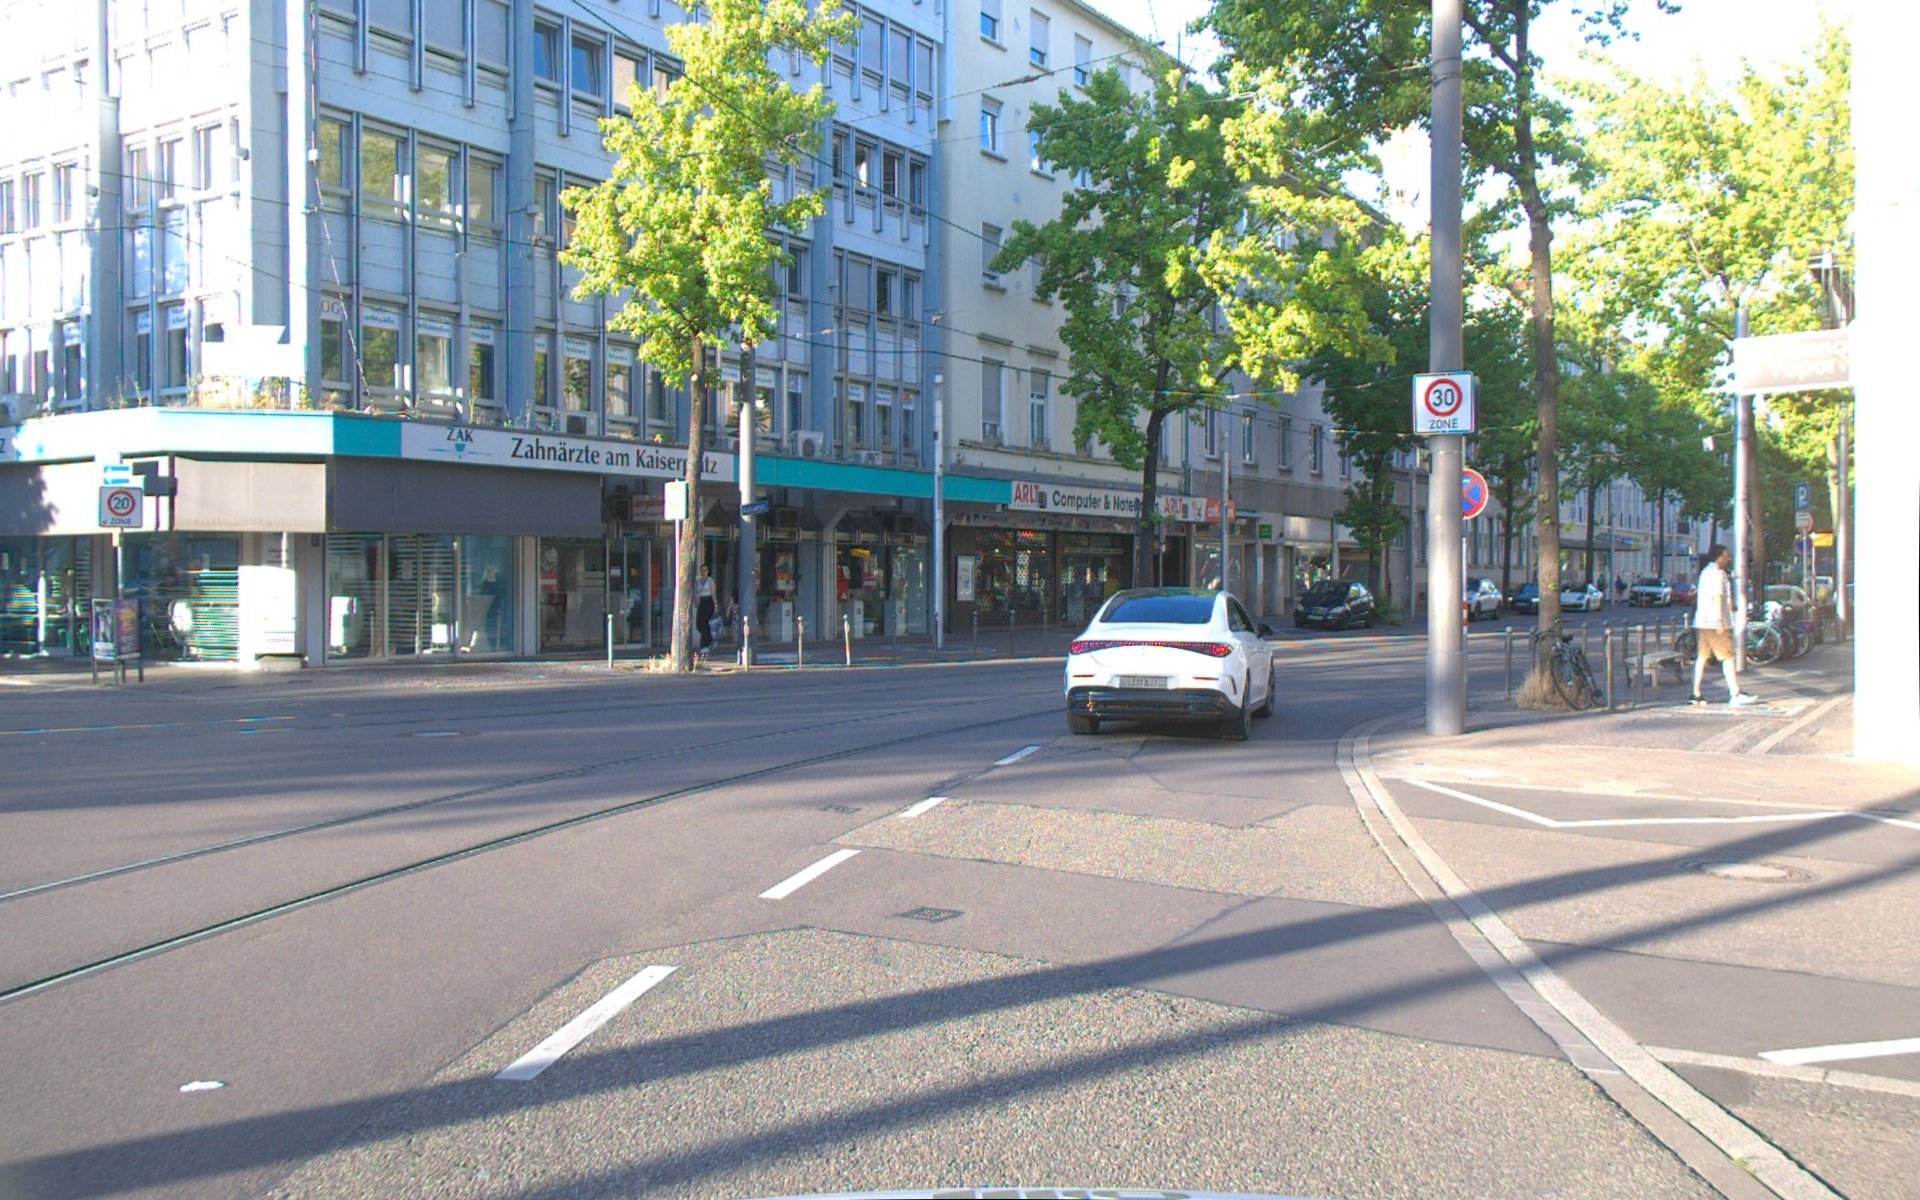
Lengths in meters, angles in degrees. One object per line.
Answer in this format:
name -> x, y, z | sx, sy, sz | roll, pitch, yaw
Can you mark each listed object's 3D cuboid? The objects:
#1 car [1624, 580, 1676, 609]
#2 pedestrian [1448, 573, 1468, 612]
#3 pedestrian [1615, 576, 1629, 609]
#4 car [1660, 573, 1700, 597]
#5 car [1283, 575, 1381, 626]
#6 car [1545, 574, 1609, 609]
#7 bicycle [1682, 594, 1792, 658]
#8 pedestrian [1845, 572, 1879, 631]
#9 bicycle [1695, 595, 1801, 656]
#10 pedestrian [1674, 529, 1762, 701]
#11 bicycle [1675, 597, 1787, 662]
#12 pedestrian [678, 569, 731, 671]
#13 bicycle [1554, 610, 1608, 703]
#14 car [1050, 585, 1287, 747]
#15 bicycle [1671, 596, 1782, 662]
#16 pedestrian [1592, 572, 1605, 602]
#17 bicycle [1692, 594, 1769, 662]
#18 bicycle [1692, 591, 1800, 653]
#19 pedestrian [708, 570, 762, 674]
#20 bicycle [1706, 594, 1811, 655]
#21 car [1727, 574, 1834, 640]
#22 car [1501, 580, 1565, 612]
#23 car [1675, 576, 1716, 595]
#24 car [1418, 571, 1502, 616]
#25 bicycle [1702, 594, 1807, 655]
car -> 41.544, -0.340, 99.557 | 1.928, 1.721, 4.996 | 1, 1, 34
pedestrian -> 22.804, -0.339, 75.763 | 0.674, 1.750, 0.654 | 1, 1, 34
pedestrian -> 40.495, -0.464, 101.159 | 0.693, 2.039, 0.675 | 0, 0, 27
car -> 46.722, -0.971, 107.295 | 1.659, 1.525, 4.220 | 1, 1, 34
car -> 12.598, -0.004, 55.877 | 1.928, 1.668, 3.987 | 1, 1, 34
car -> 31.303, -0.447, 83.872 | 1.913, 1.668, 4.892 | 1, 1, 35
bicycle -> 14.887, 0.483, 31.723 | 1.835, 1.175, 0.560 | 1, 0, 36
pedestrian -> 26.090, 0.037, 47.842 | 0.789, 1.672, 0.753 | -1, 0, 34
bicycle -> 15.613, 0.488, 32.778 | 1.835, 1.175, 0.560 | 1, 0, 36
pedestrian -> 9.233, 0.175, 20.172 | 0.825, 2.049, 0.844 | 1, 0, 14
bicycle -> 14.496, 0.545, 31.129 | 1.835, 1.175, 0.560 | 1, 0, 36
pedestrian -> -5.223, 0.398, 33.798 | 0.783, 2.049, 0.732 | 1, 0, 35
bicycle -> 7.760, 0.683, 20.633 | 0.347, 1.095, 1.696 | 1, 0, 30
car -> 2.325, 0.594, 17.475 | 1.828, 1.494, 4.045 | 0, 0, 17
bicycle -> 14.207, 0.529, 30.685 | 1.835, 1.175, 0.346 | 1, 0, 36
pedestrian -> 39.356, -0.795, 101.952 | 0.694, 1.838, 0.674 | 0, 0, 29
bicycle -> 13.845, 0.484, 29.759 | 0.451, 1.175, 1.679 | 0, 0, -6
bicycle -> 15.311, 0.409, 32.241 | 1.835, 1.175, 0.560 | 1, 0, 36
pedestrian -> -4.539, 0.432, 33.363 | 0.783, 2.049, 0.732 | 1, 0, 35
bicycle -> 16.321, 0.503, 33.822 | 1.834, 1.175, 0.560 | -3, -2, 36
car -> 20.130, 0.163, 40.506 | 1.745, 1.465, 4.409 | -3, -2, 34
car -> 26.834, -0.203, 77.362 | 1.926, 1.437, 4.836 | 1, 1, 31
car -> 50.852, -1.007, 114.300 | 1.958, 1.314, 3.989 | 1, 1, 33
car -> 20.355, -0.265, 67.215 | 1.928, 1.668, 4.797 | 4, 2, 34
bicycle -> 15.964, 0.483, 33.263 | 1.835, 1.175, 0.560 | 1, 0, 36
